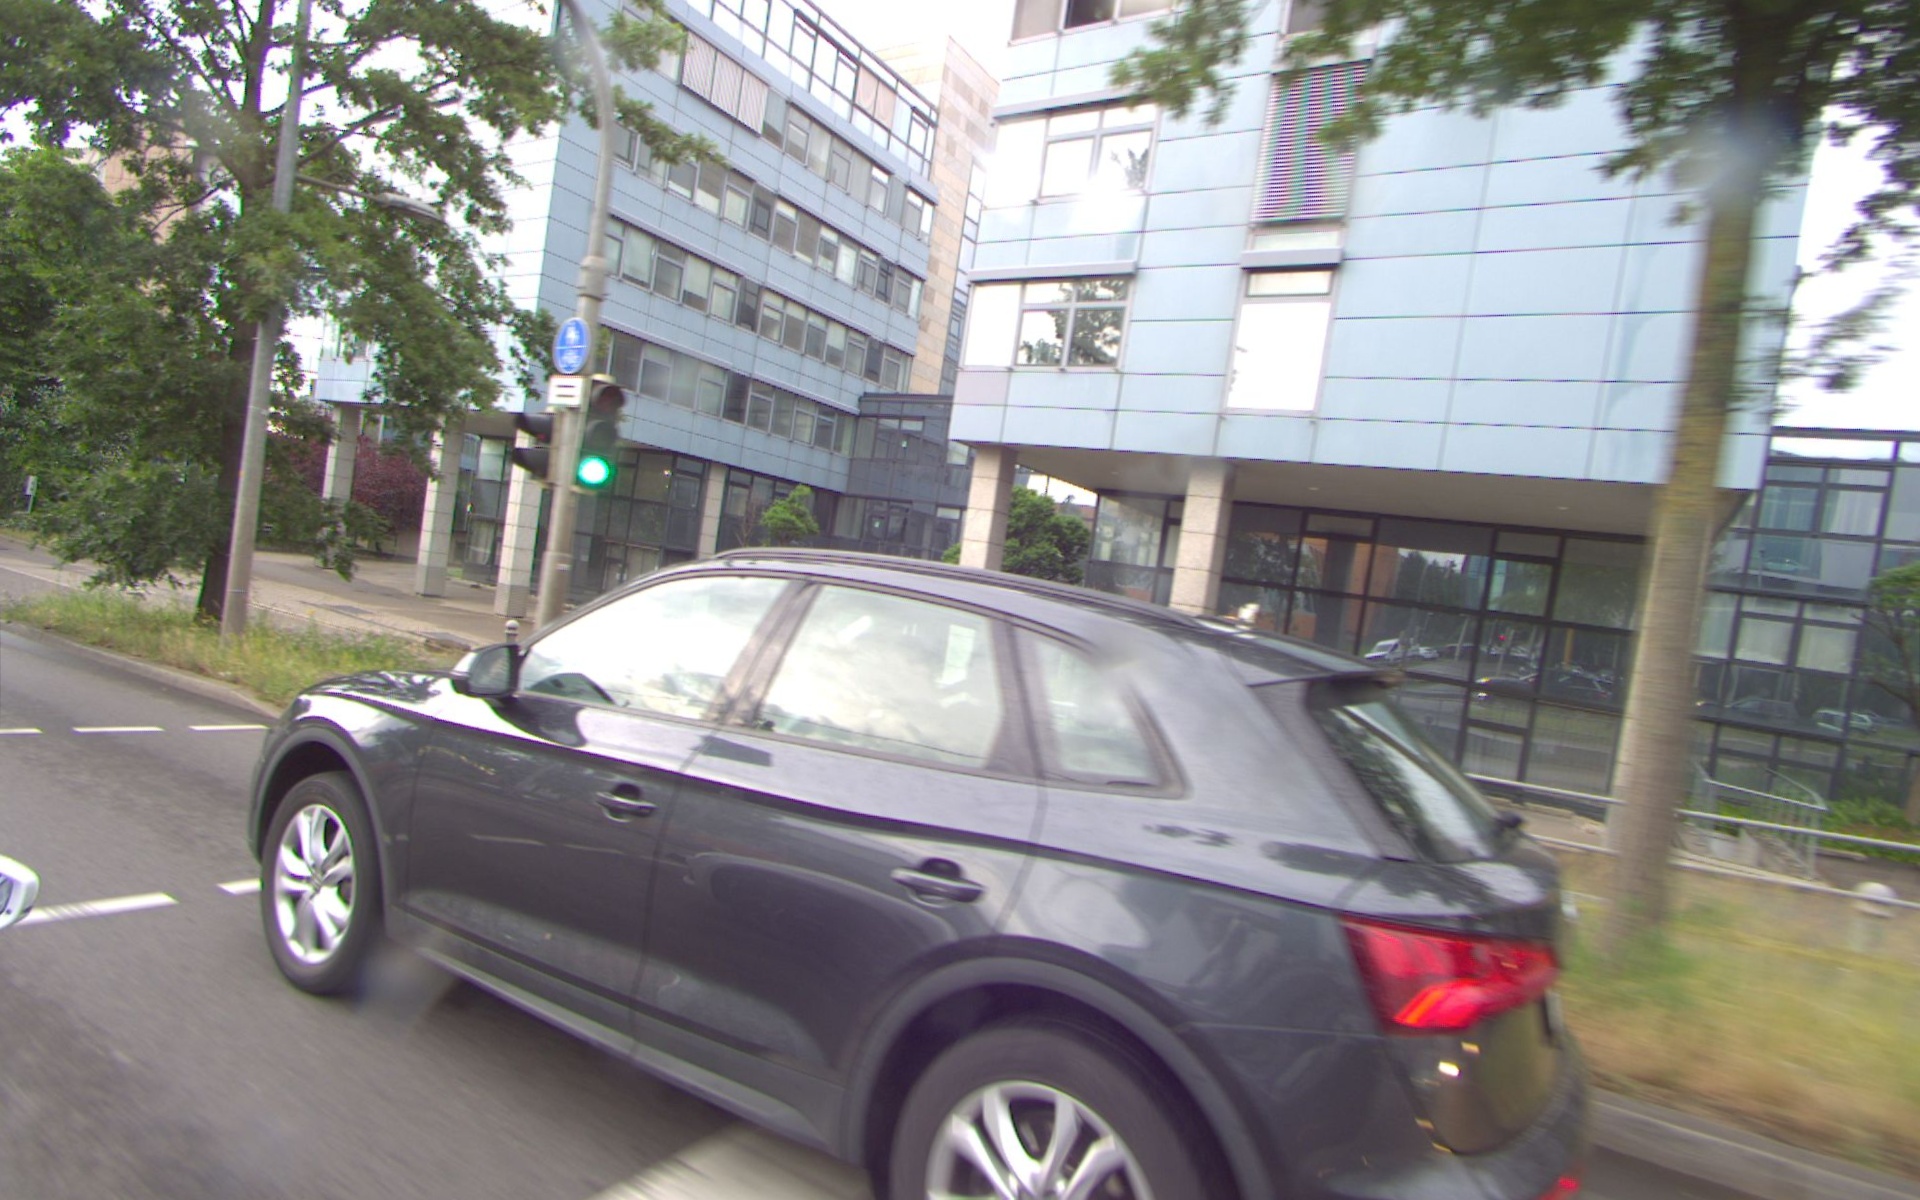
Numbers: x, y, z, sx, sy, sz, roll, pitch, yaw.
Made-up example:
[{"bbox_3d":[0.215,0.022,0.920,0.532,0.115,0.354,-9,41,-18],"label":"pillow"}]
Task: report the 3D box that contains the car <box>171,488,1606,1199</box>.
[{"bbox_3d":[-0.548,0.674,3.404,4.396,1.632,1.820,6,-1,32],"label":"car"}]
